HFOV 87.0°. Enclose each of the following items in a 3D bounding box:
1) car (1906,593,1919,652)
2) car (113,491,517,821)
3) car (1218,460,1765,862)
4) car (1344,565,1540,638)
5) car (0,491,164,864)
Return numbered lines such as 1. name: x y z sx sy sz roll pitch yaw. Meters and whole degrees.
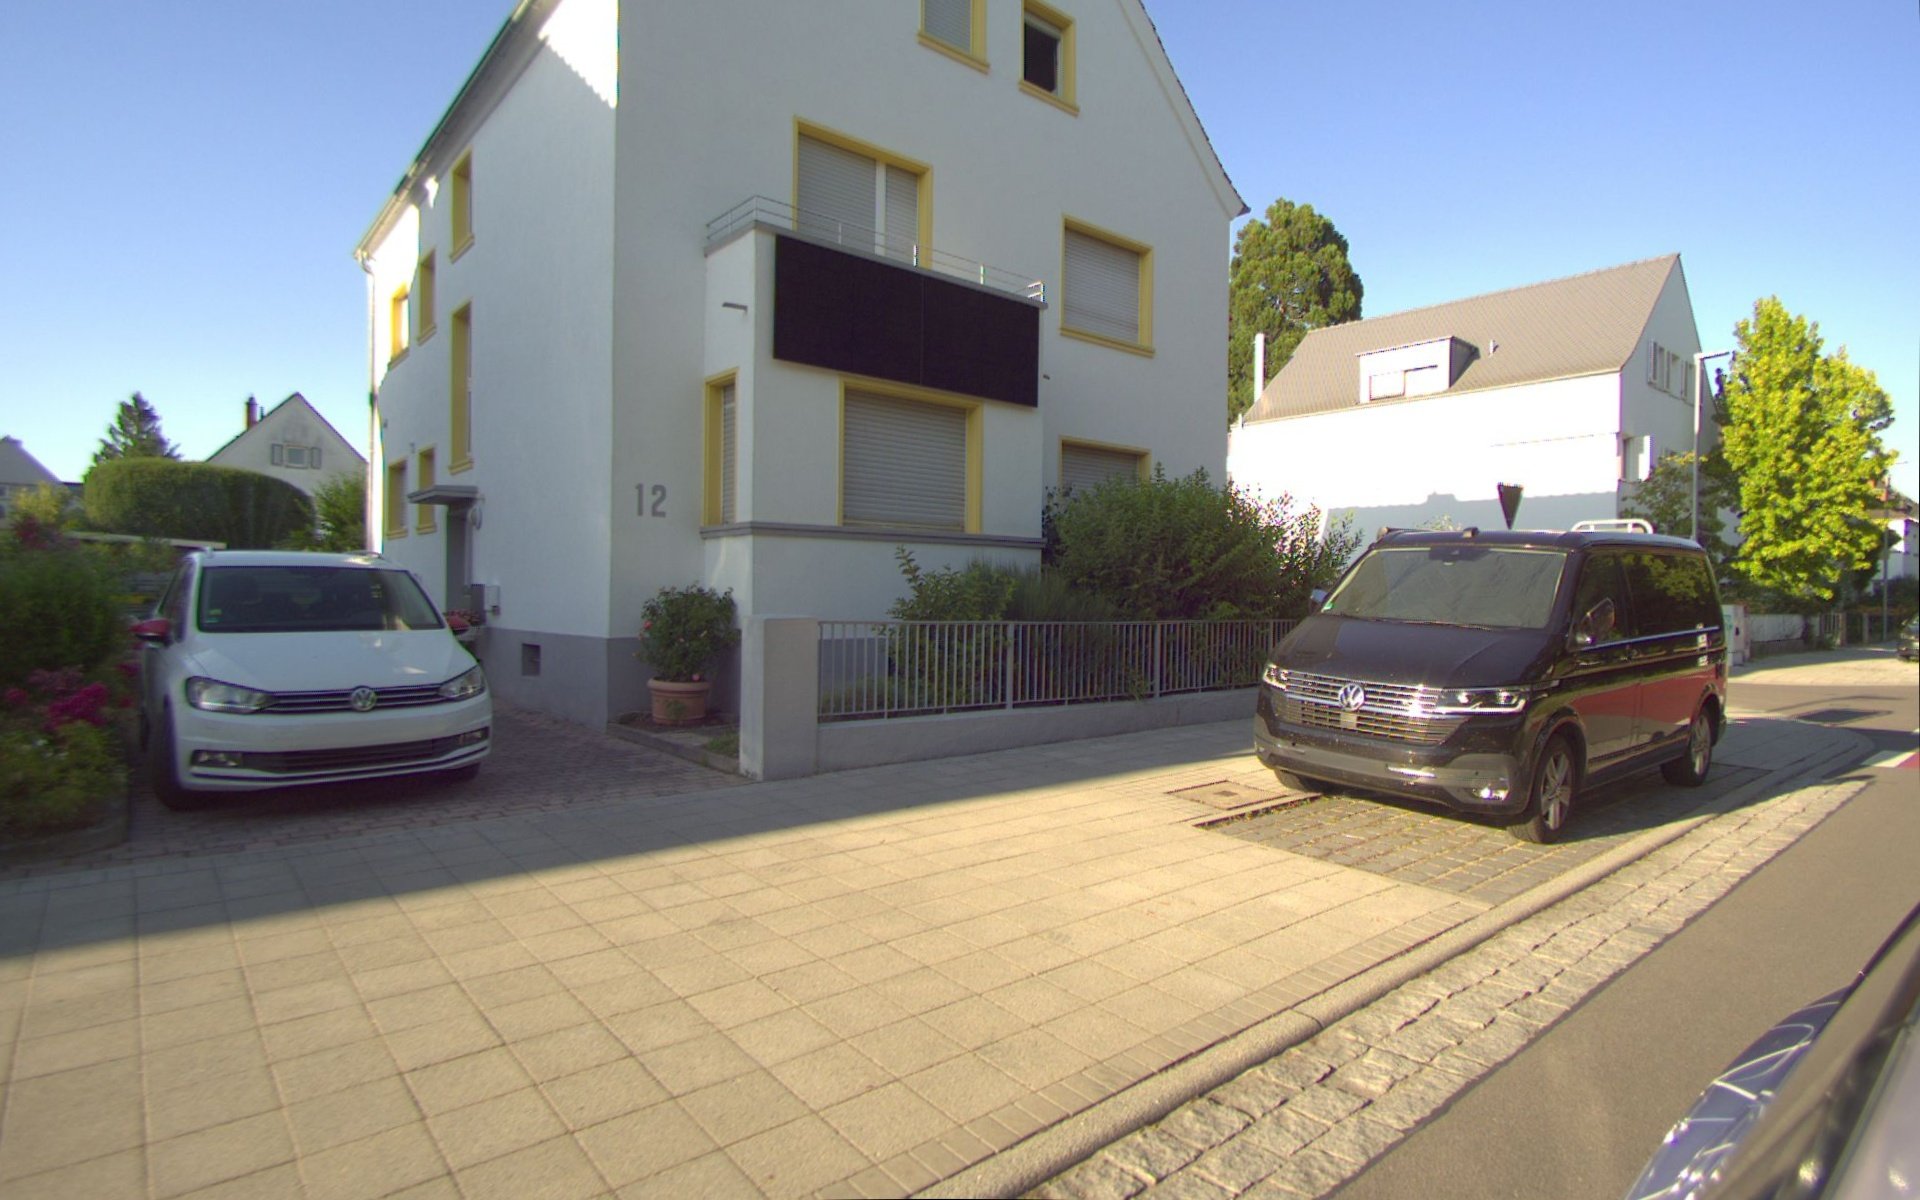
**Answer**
1. car: 26.749 0.686 26.891 4.049 1.501 1.799 2 2 -40
2. car: -4.996 0.304 7.554 1.822 1.748 4.221 0 -1 -43
3. car: 4.229 0.311 7.669 4.727 2.158 1.911 1 2 -39
4. car: 12.135 0.042 25.681 1.862 1.710 4.095 0 0 -41
5. car: -6.151 0.300 6.065 1.822 1.747 4.222 0 1 -43
